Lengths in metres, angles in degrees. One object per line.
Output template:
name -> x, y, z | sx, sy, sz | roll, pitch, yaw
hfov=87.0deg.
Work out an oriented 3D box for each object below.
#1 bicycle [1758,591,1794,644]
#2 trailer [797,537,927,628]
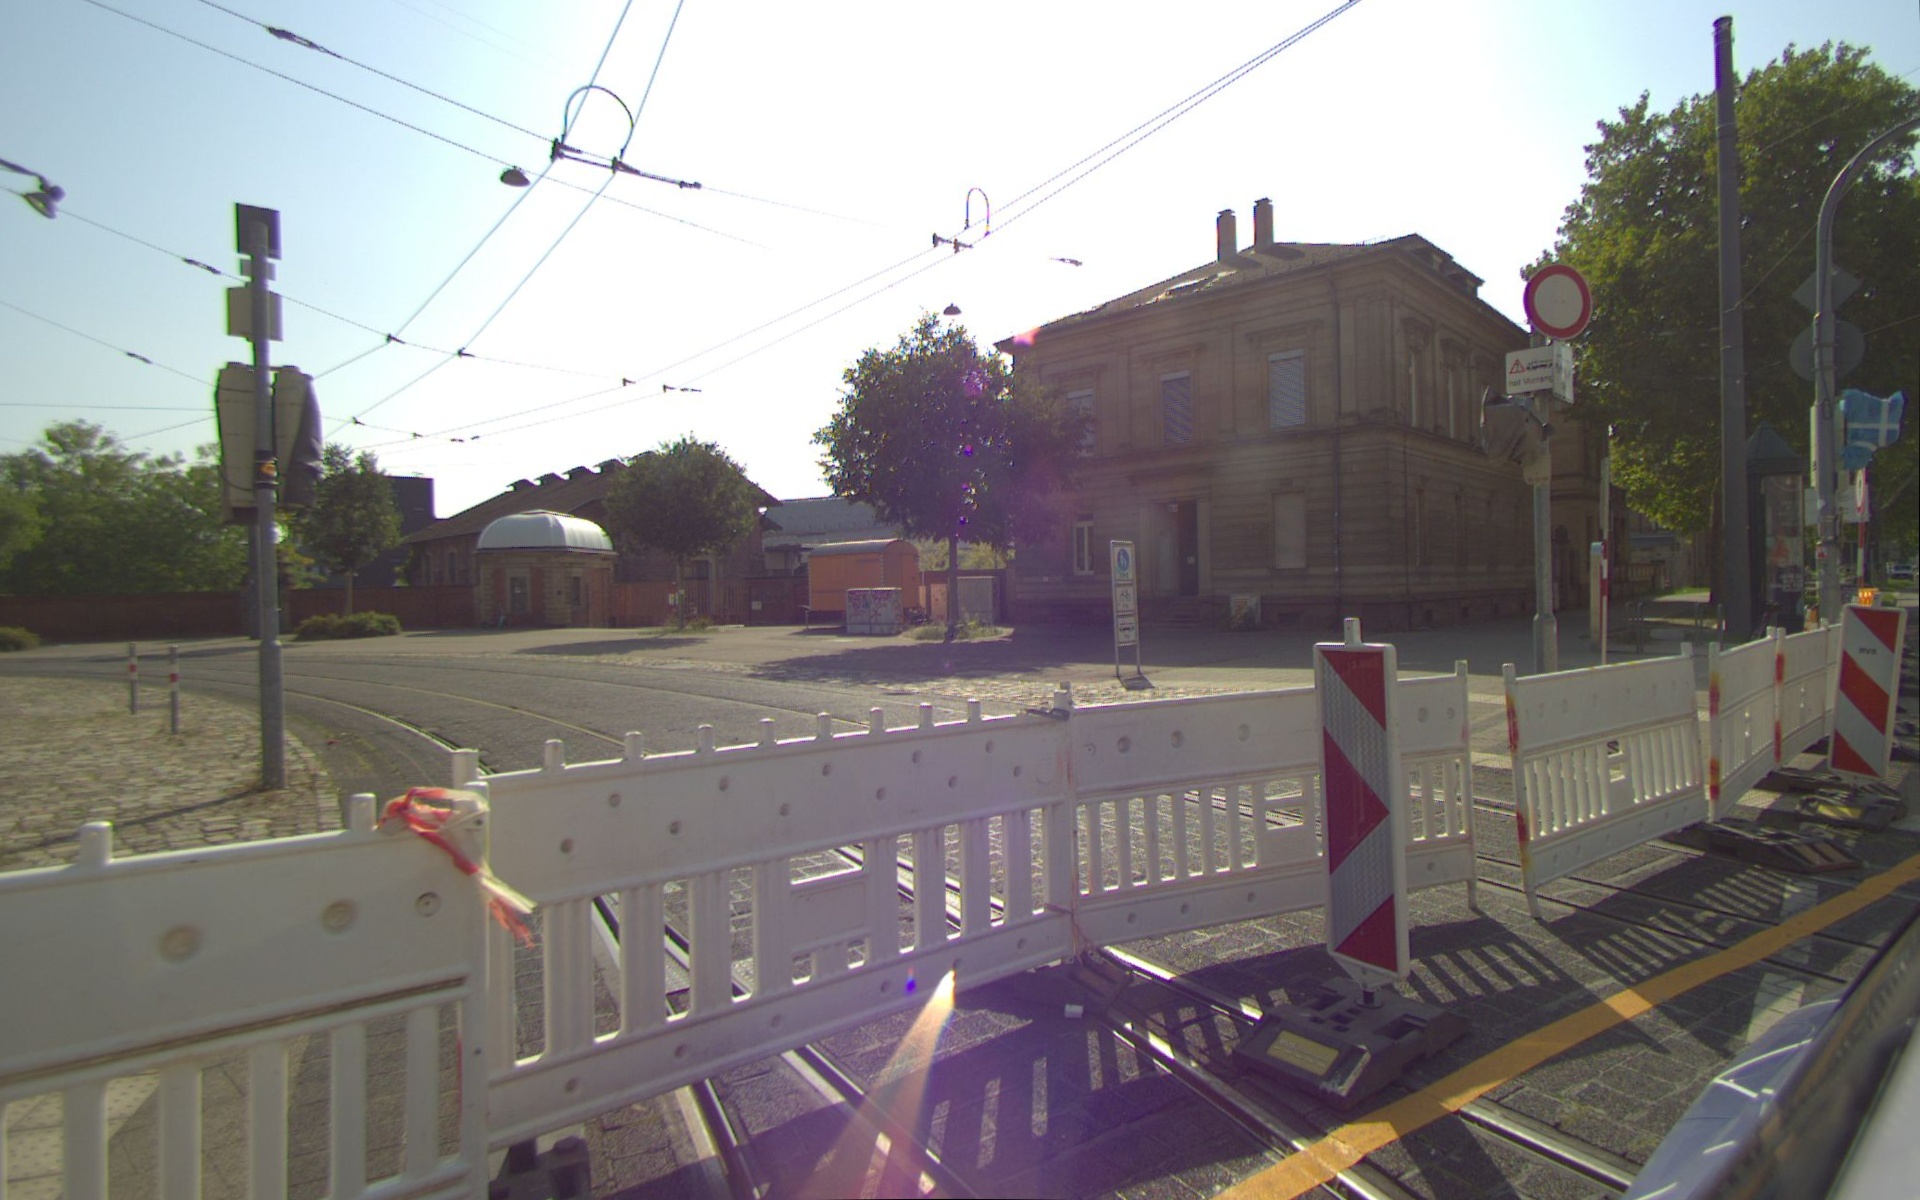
bicycle -> 15.830, 0.325, 19.621 | 0.410, 0.999, 1.354 | 0, 0, 45
trailer -> -3.546, -0.632, 36.541 | 3.973, 3.106, 2.526 | 0, 2, 35
